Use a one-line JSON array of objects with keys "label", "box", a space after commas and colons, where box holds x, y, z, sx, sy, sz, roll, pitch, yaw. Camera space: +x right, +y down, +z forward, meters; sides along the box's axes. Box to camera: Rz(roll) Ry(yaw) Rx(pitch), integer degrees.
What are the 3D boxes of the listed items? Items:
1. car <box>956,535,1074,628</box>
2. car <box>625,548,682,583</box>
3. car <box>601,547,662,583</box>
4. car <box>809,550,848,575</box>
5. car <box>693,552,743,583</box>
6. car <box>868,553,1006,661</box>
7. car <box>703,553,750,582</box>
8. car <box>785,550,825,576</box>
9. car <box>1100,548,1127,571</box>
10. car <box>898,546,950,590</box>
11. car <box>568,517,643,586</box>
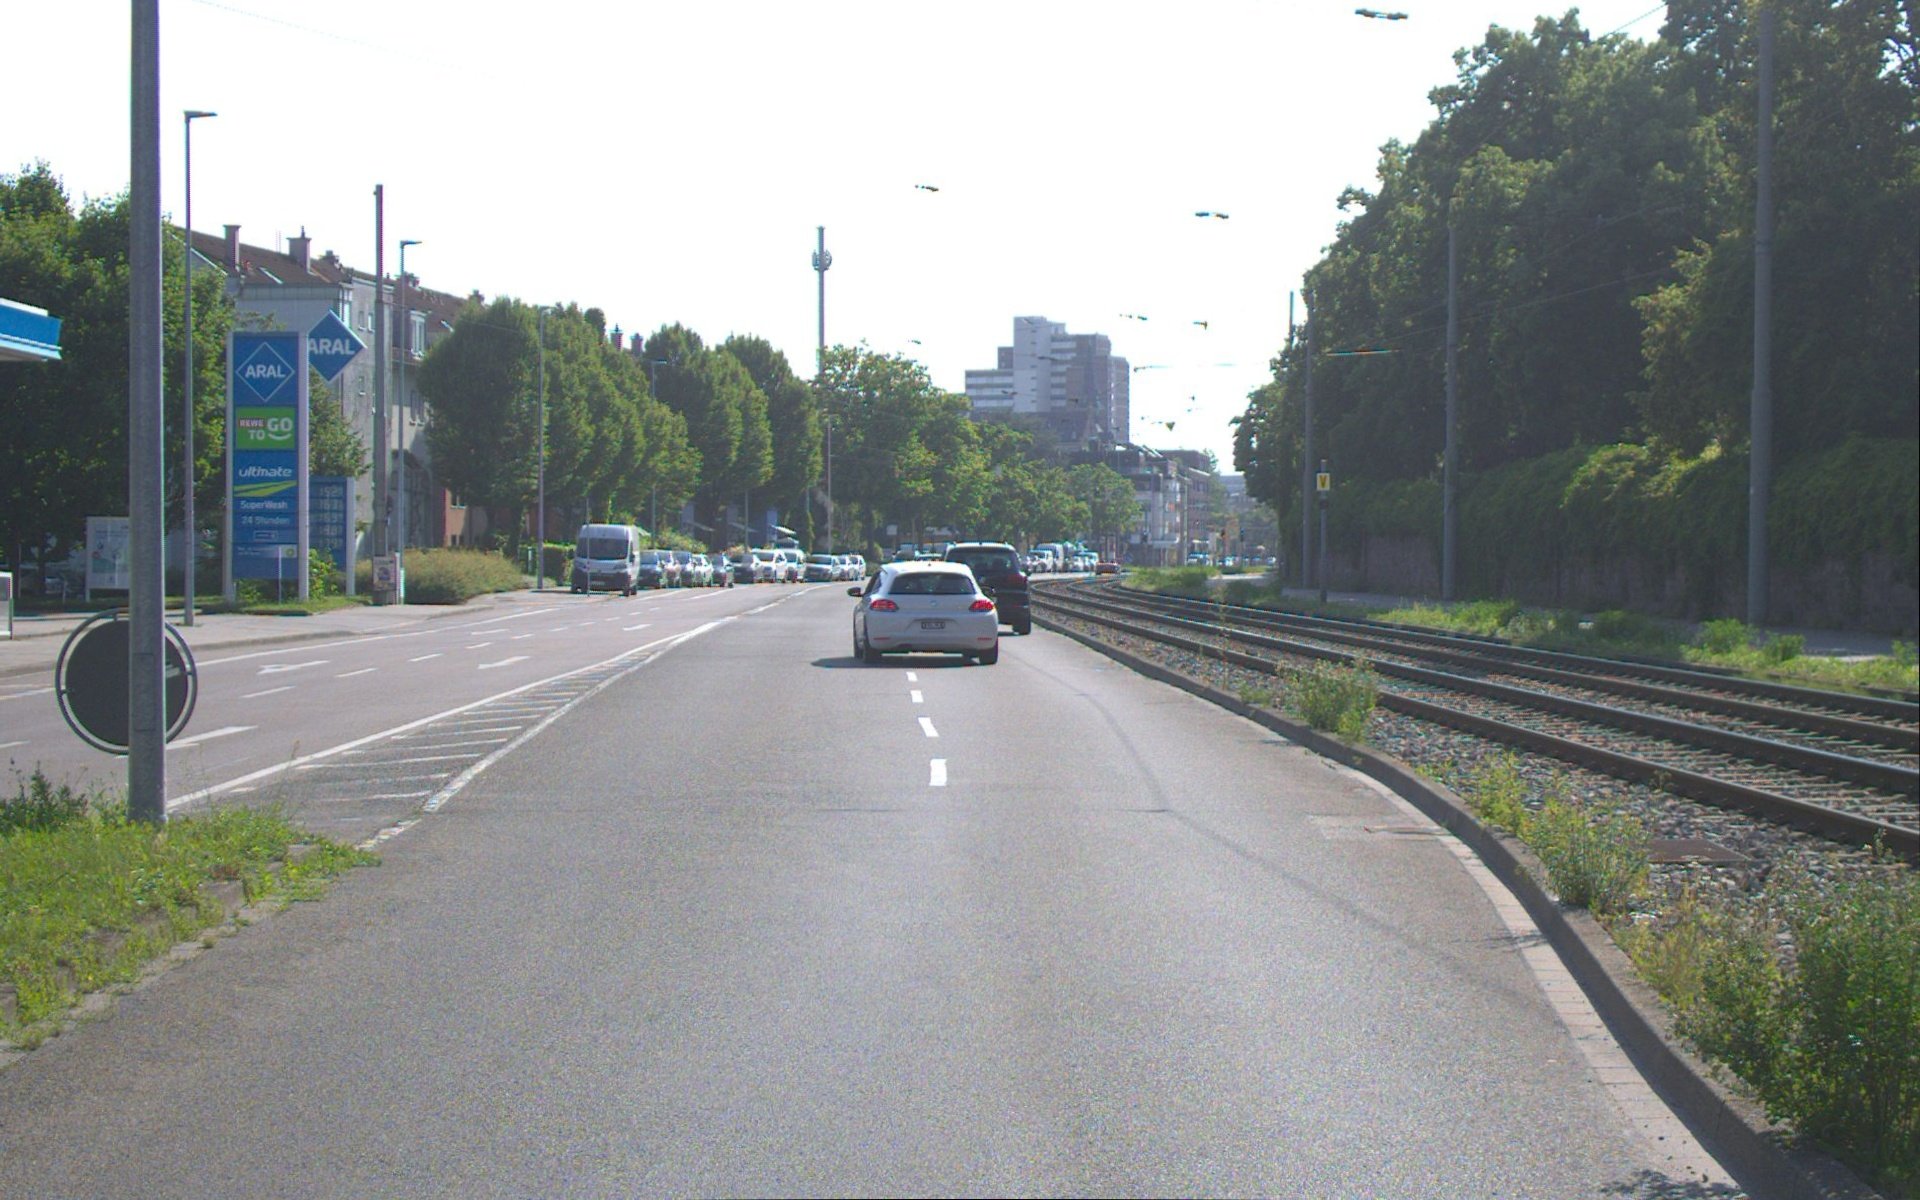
[{"label": "car", "box": [0.977, -0.354, 62.607, 1.724, 1.587, 3.602, 2, 1, -5]}, {"label": "car", "box": [-12.731, -1.453, 142.976, 1.993, 1.411, 3.844, 0, 1, 1]}, {"label": "car", "box": [-13.097, -1.412, 137.268, 1.993, 1.411, 3.844, 0, 1, 1]}, {"label": "car", "box": [-7.545, -2.166, 197.405, 1.993, 1.411, 3.844, 0, 1, 1]}, {"label": "car", "box": [-11.214, -1.502, 159.713, 1.993, 1.411, 3.844, 0, 1, 1]}, {"label": "car", "box": [-0.340, 0.067, 47.337, 1.781, 1.351, 3.601, 2, 1, -1]}, {"label": "car", "box": [-11.610, -1.633, 171.151, 1.993, 1.411, 3.844, 0, 1, 1]}, {"label": "car", "box": [-8.676, -2.078, 192.633, 1.993, 1.411, 3.844, 0, 1, 1]}, {"label": "car", "box": [10.983, -2.890, 245.371, 1.724, 1.587, 3.600, 2, 1, 5]}, {"label": "car", "box": [-1.240, -1.133, 120.520, 1.749, 1.480, 3.601, 2, 1, 0]}, {"label": "car", "box": [-12.505, -1.719, 121.512, 1.993, 2.368, 4.538, 0, 1, 2]}]
